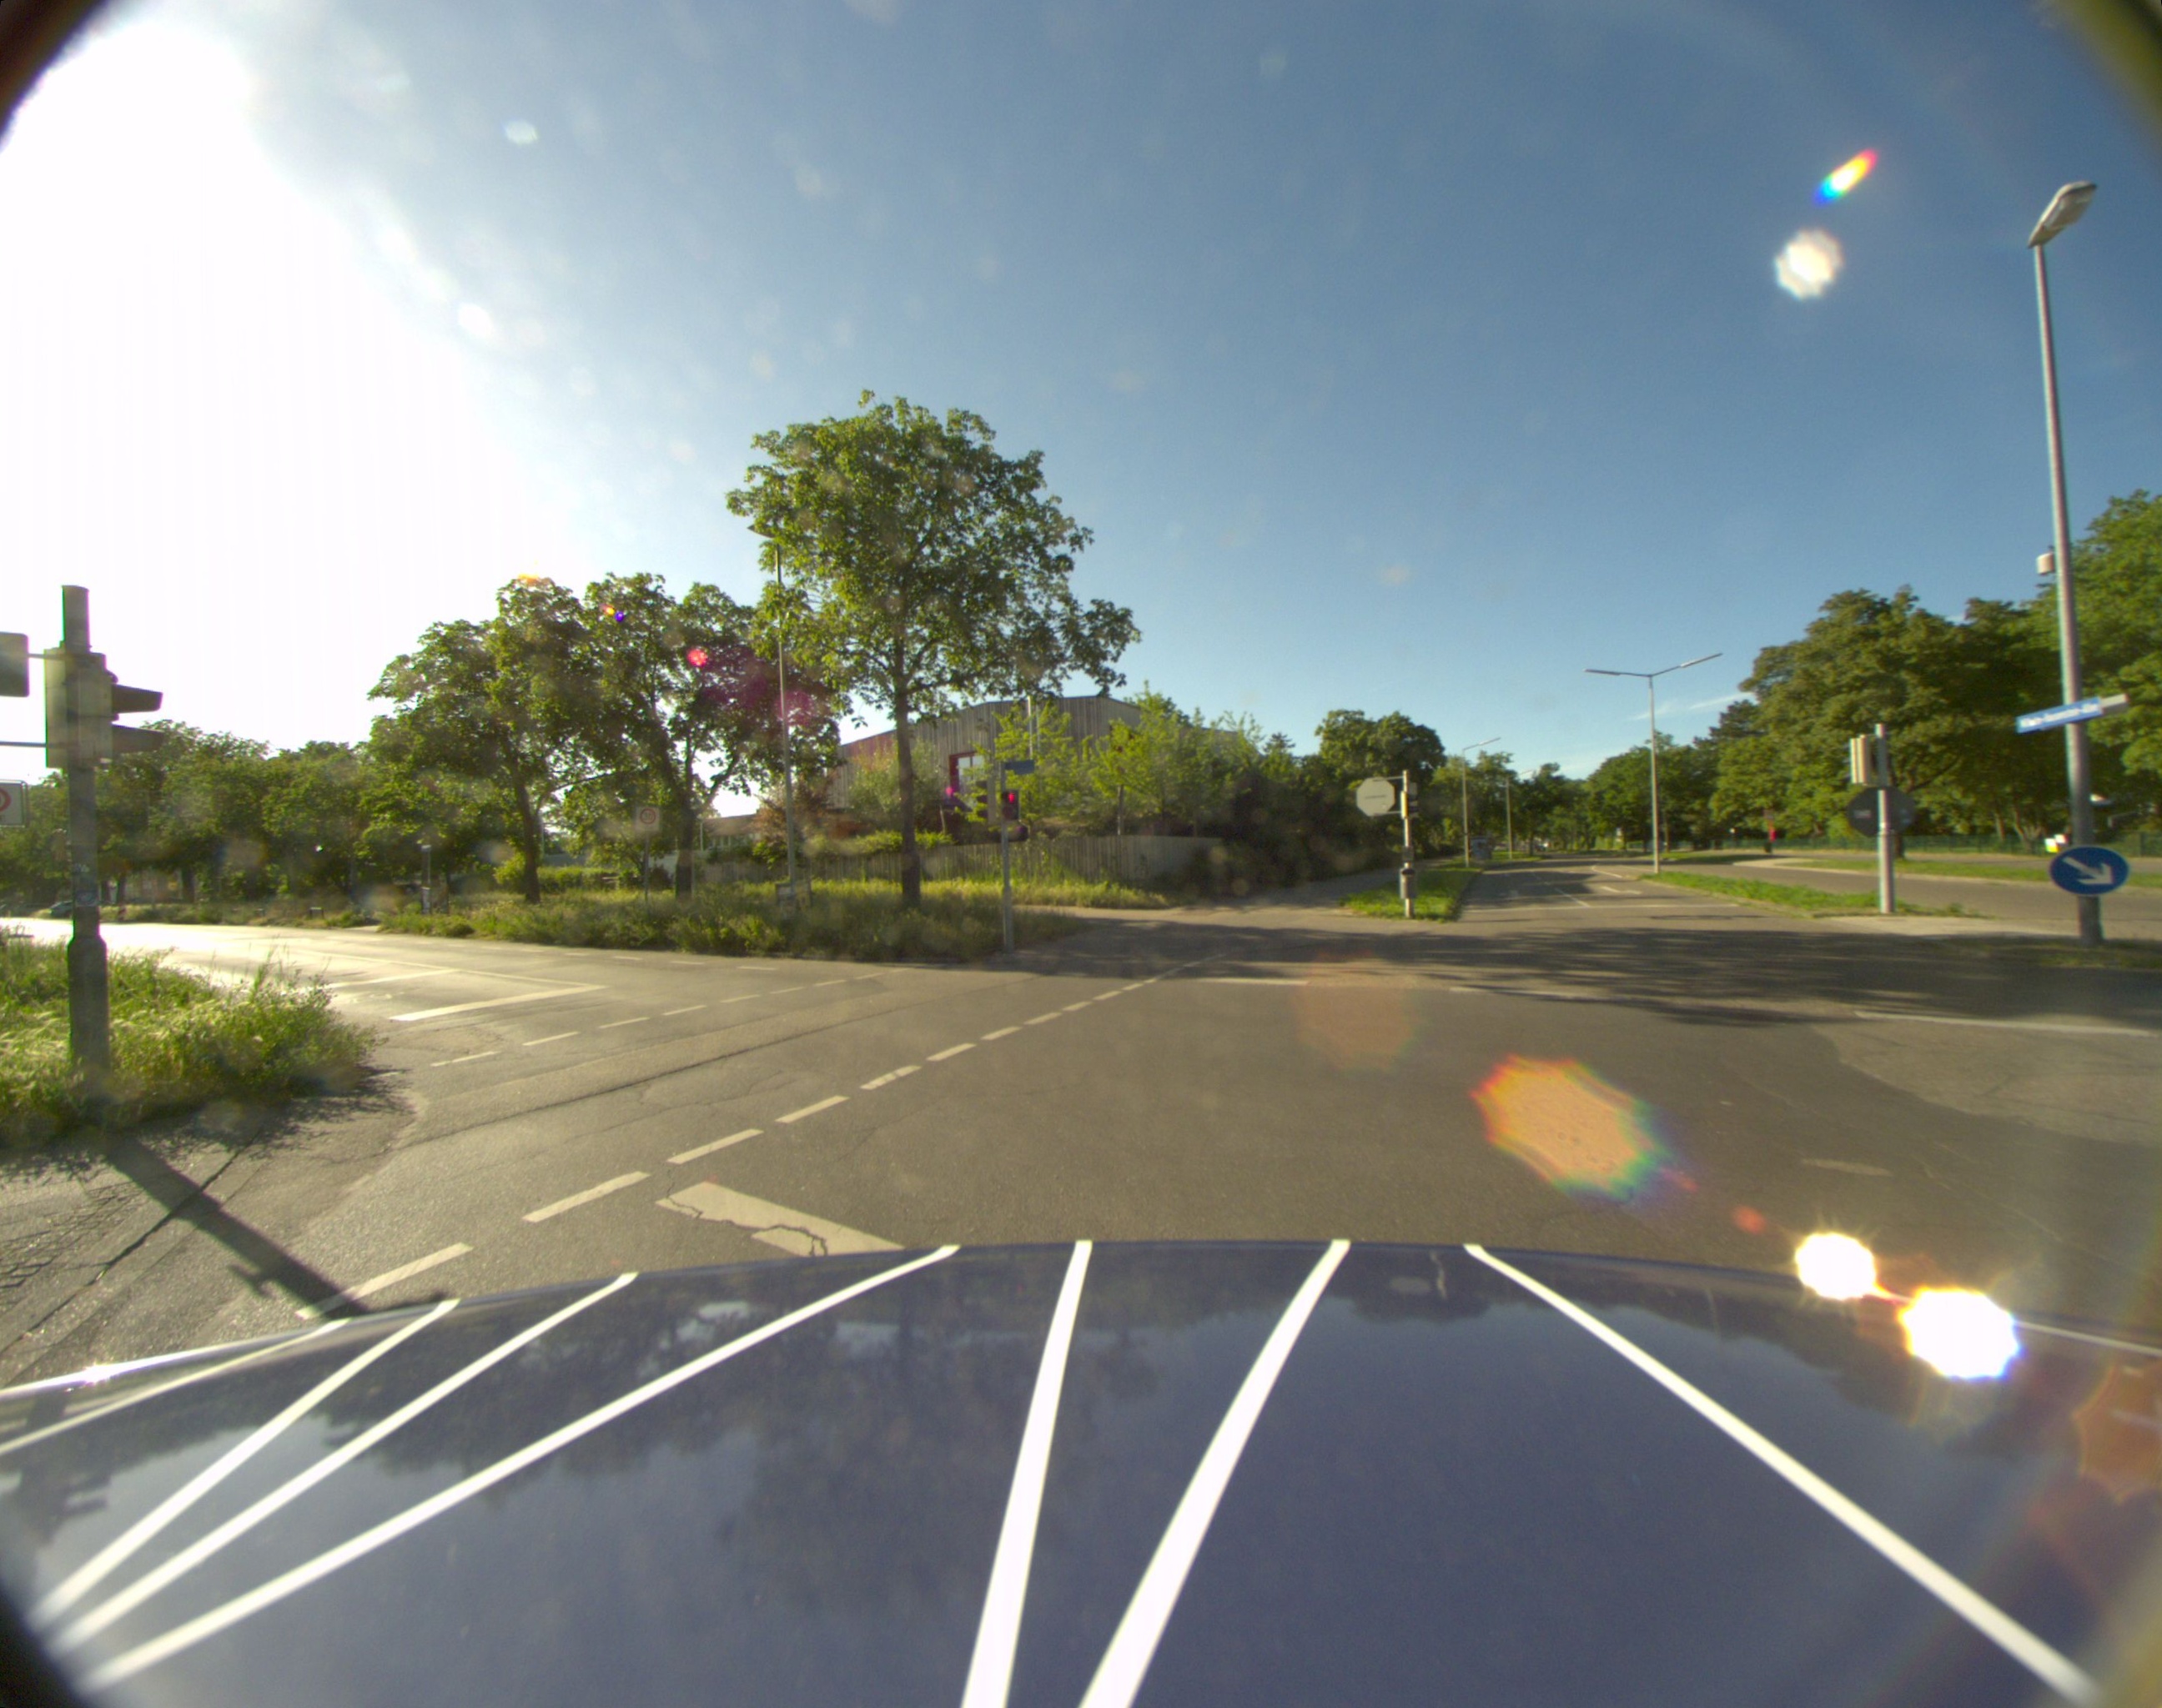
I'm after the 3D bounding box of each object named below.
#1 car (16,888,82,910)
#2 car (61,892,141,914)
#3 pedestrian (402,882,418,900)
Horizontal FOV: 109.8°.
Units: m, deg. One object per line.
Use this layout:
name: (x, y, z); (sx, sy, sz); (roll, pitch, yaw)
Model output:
car: (-141.139, 6.121, 103.953); (2.119, 2.597, 5.136); (-1, 1, 35)
car: (-88.765, 4.406, 68.864); (1.995, 1.552, 4.215); (-2, 1, 33)
pedestrian: (-47.471, 2.617, 53.733); (0.520, 1.151, 0.641); (-1, 4, 31)
